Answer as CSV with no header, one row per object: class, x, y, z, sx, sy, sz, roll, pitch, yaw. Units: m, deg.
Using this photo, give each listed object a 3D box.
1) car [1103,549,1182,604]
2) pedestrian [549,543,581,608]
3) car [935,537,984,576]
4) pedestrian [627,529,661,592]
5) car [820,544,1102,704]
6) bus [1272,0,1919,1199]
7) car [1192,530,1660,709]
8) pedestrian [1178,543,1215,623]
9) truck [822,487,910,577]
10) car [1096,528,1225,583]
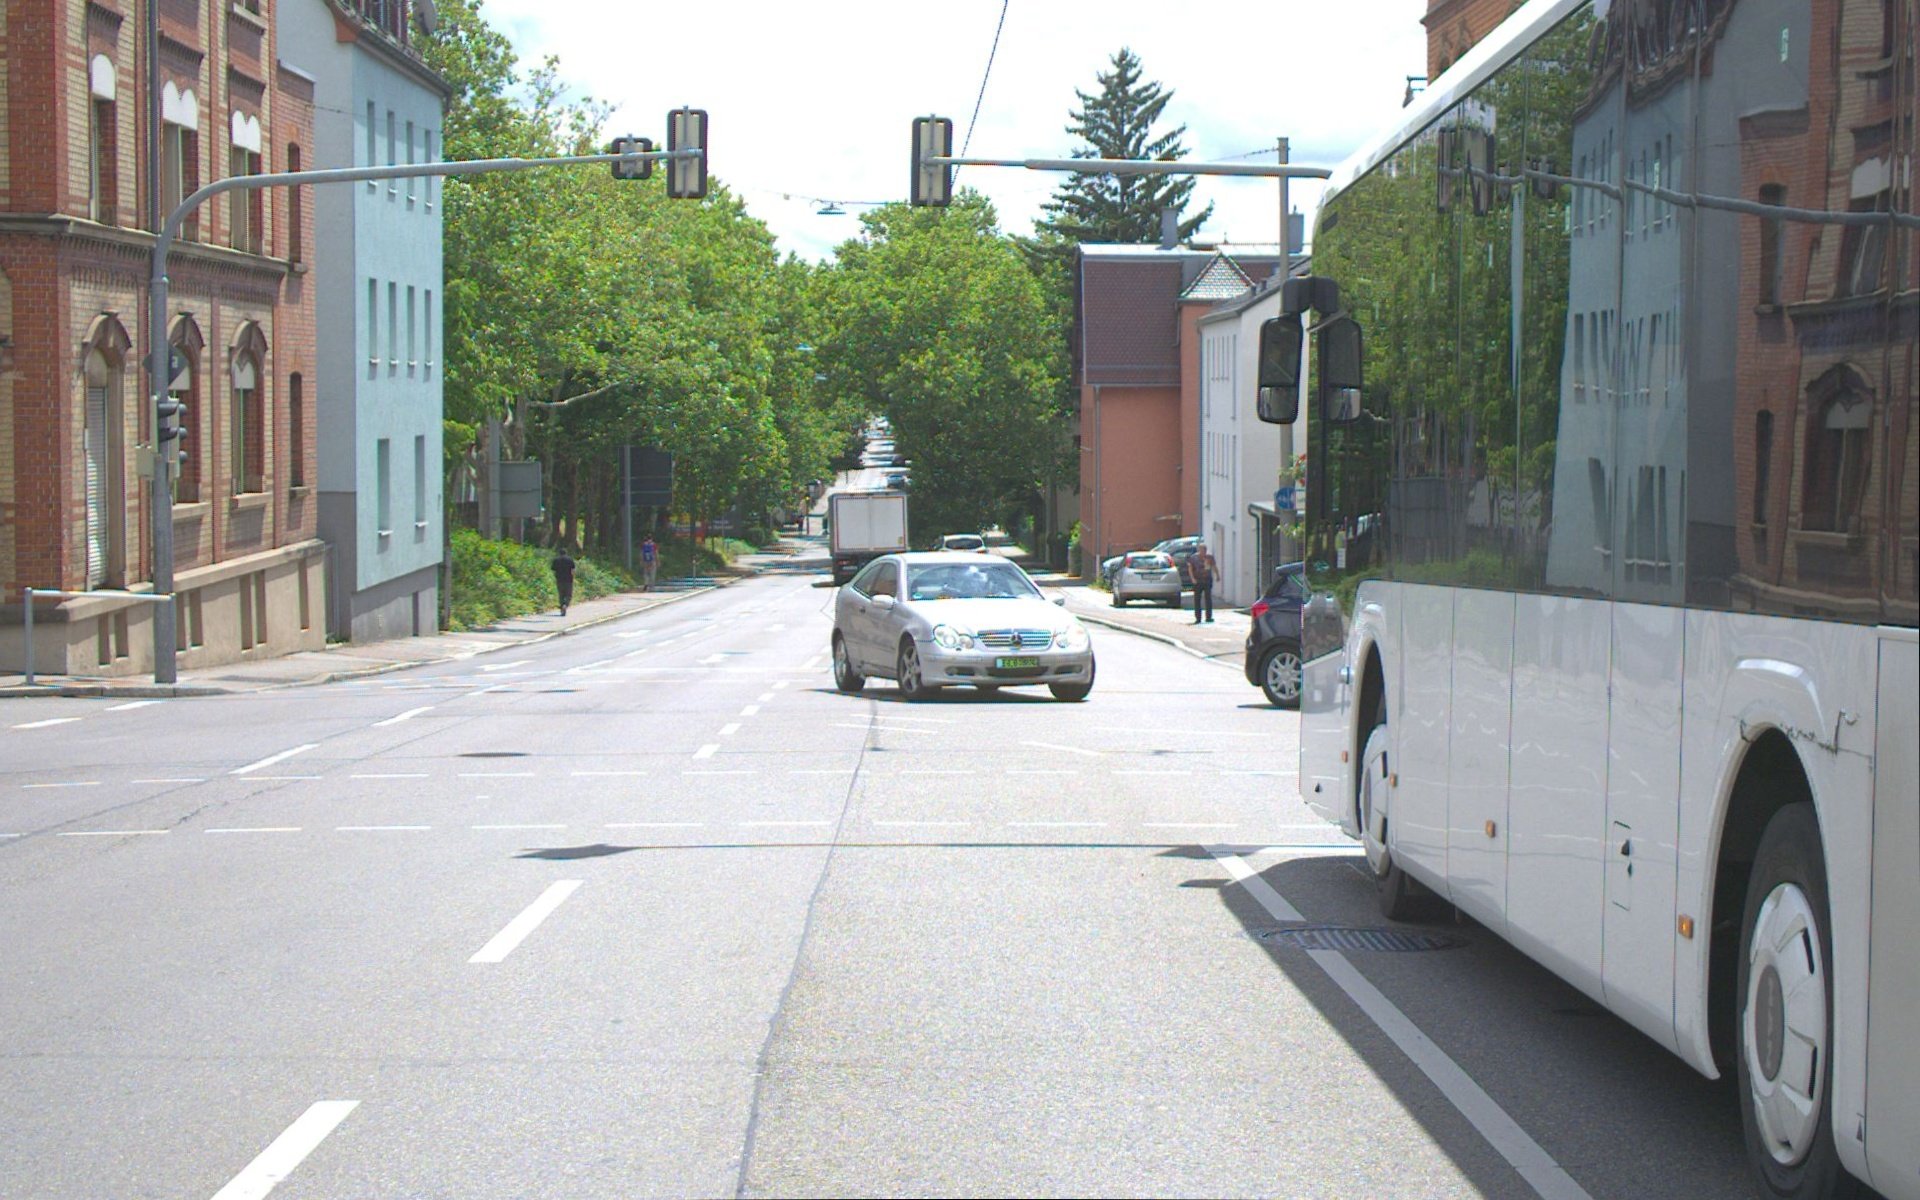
car,4.964,-0.658,93.975,1.794,1.405,4.001,-1,2,-2
pedestrian,-9.615,-0.595,83.639,0.729,1.560,0.561,0,1,-1
car,-0.030,-1.653,130.169,1.794,1.405,4.000,1,1,-1
pedestrian,-10.176,-1.283,110.815,0.995,2.007,1.189,-1,1,-1
car,-0.057,0.185,33.393,1.698,1.422,4.001,-1,1,-16
bus,2.903,-0.215,10.145,2.672,3.145,12.463,1,1,-1
car,4.190,0.148,31.001,3.787,1.511,1.761,0,1,31
pedestrian,5.209,-0.387,75.820,0.738,1.744,0.619,-1,1,-1
truck,-3.402,-2.448,122.913,2.926,3.070,7.887,-1,1,-3
car,6.638,-1.488,114.067,3.986,1.751,2.000,-1,1,-5
